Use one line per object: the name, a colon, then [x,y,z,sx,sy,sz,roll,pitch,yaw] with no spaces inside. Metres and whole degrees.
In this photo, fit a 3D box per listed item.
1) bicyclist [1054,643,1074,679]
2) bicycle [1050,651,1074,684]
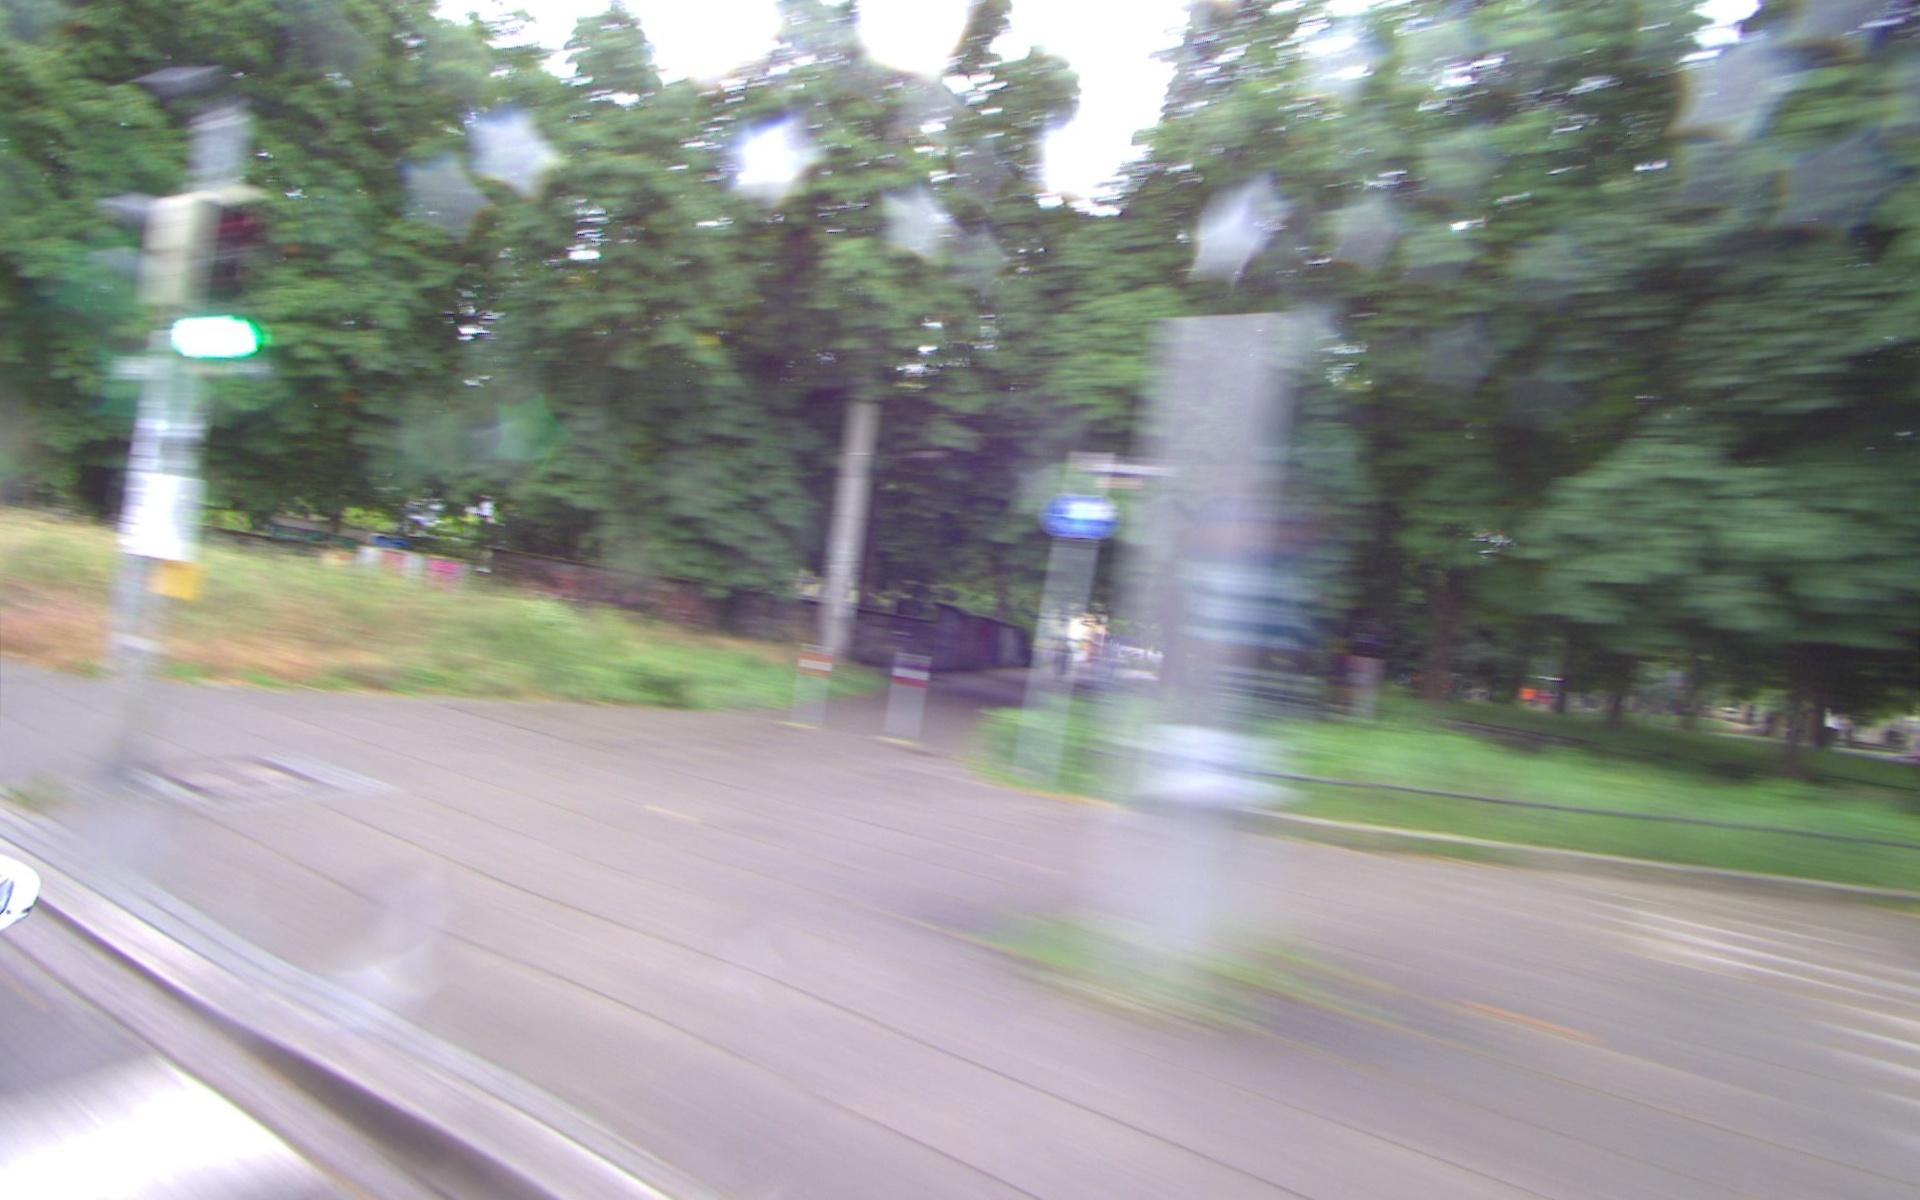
bicyclist: [4.014,2.353,38.826,0.583,1.310,0.801,6,-1,12]
bicycle: [3.918,2.575,38.466,0.614,1.154,1.713,6,-1,12]
